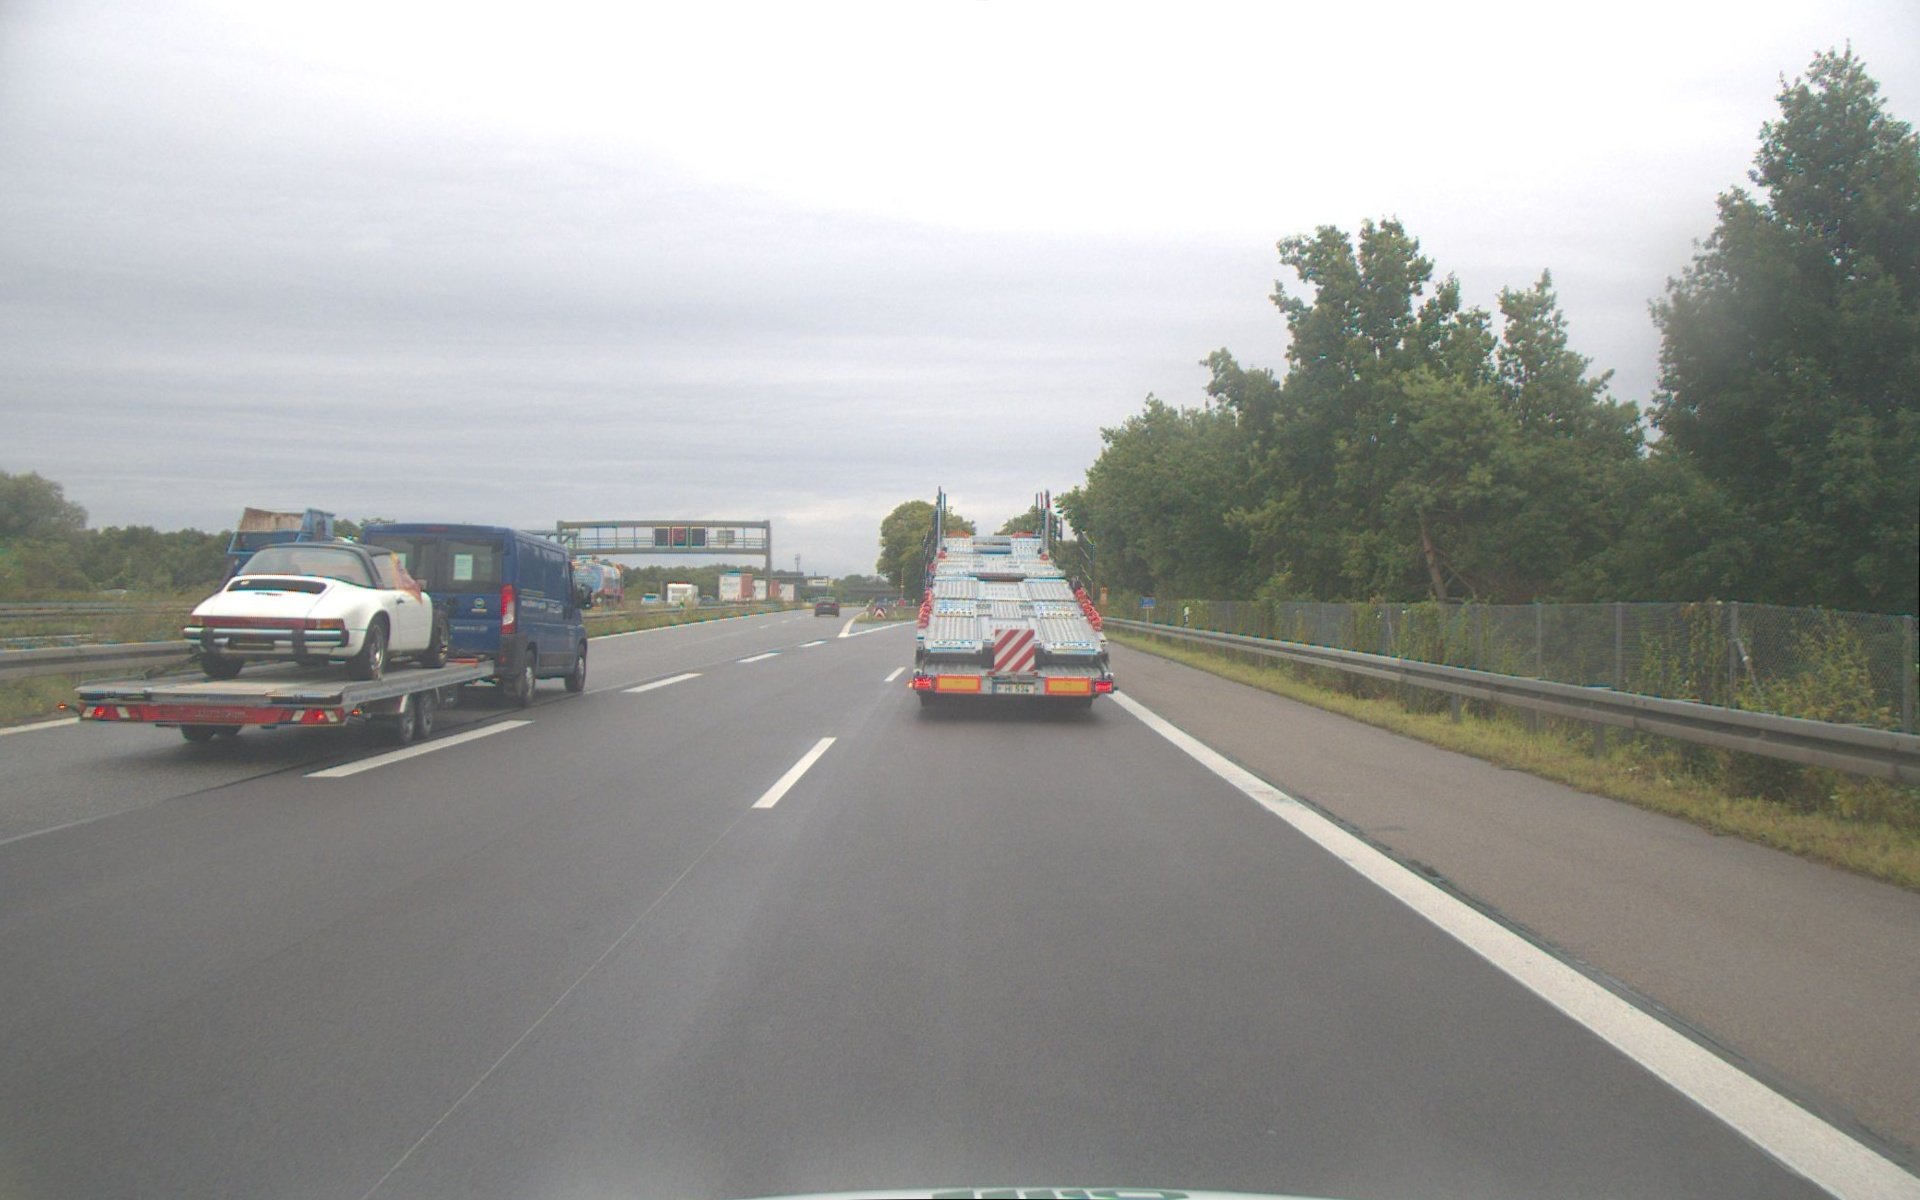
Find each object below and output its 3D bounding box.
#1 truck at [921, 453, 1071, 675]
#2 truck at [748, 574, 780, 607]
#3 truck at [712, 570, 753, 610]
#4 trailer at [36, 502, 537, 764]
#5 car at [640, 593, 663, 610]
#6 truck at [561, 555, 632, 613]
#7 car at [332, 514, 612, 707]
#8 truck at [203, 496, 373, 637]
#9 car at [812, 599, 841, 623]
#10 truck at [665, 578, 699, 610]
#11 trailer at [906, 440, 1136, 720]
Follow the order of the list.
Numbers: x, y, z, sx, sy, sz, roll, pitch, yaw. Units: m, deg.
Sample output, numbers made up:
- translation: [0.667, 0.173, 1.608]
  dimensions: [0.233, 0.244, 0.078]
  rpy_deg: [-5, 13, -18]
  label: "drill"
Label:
- translation: [0.620, -0.692, 35.138]
  dimensions: [2.683, 4.037, 9.127]
  rpy_deg: [1, 0, -1]
  label: "truck"
- translation: [-28.248, -1.332, 238.678]
  dimensions: [3.658, 4.494, 11.890]
  rpy_deg: [1, 0, -3]
  label: "truck"
- translation: [-26.267, -1.138, 191.735]
  dimensions: [3.658, 4.494, 10.190]
  rpy_deg: [1, 0, -3]
  label: "truck"
- translation: [-6.257, 0.262, 16.707]
  dimensions: [2.435, 2.029, 7.059]
  rpy_deg: [1, 0, -3]
  label: "trailer"
- translation: [-29.039, 0.099, 155.811]
  dimensions: [1.650, 1.557, 3.996]
  rpy_deg: [2, 0, -5]
  label: "car"
- translation: [-22.421, -0.945, 102.383]
  dimensions: [2.800, 3.424, 8.626]
  rpy_deg: [1, 0, -3]
  label: "truck"
- translation: [-6.604, 0.128, 23.320]
  dimensions: [2.325, 2.306, 6.253]
  rpy_deg: [1, 0, -3]
  label: "car"
- translation: [-20.143, -0.908, 50.055]
  dimensions: [2.586, 3.879, 7.336]
  rpy_deg: [1, -1, -5]
  label: "truck"
- translation: [-9.864, 0.797, 122.764]
  dimensions: [1.922, 1.666, 5.622]
  rpy_deg: [1, 0, -3]
  label: "car"
- translation: [-24.459, -0.510, 145.716]
  dimensions: [2.198, 2.751, 5.276]
  rpy_deg: [1, 0, -3]
  label: "truck"
- translation: [0.704, -0.263, 25.276]
  dimensions: [2.721, 3.342, 10.406]
  rpy_deg: [1, 0, 0]
  label: "trailer"
